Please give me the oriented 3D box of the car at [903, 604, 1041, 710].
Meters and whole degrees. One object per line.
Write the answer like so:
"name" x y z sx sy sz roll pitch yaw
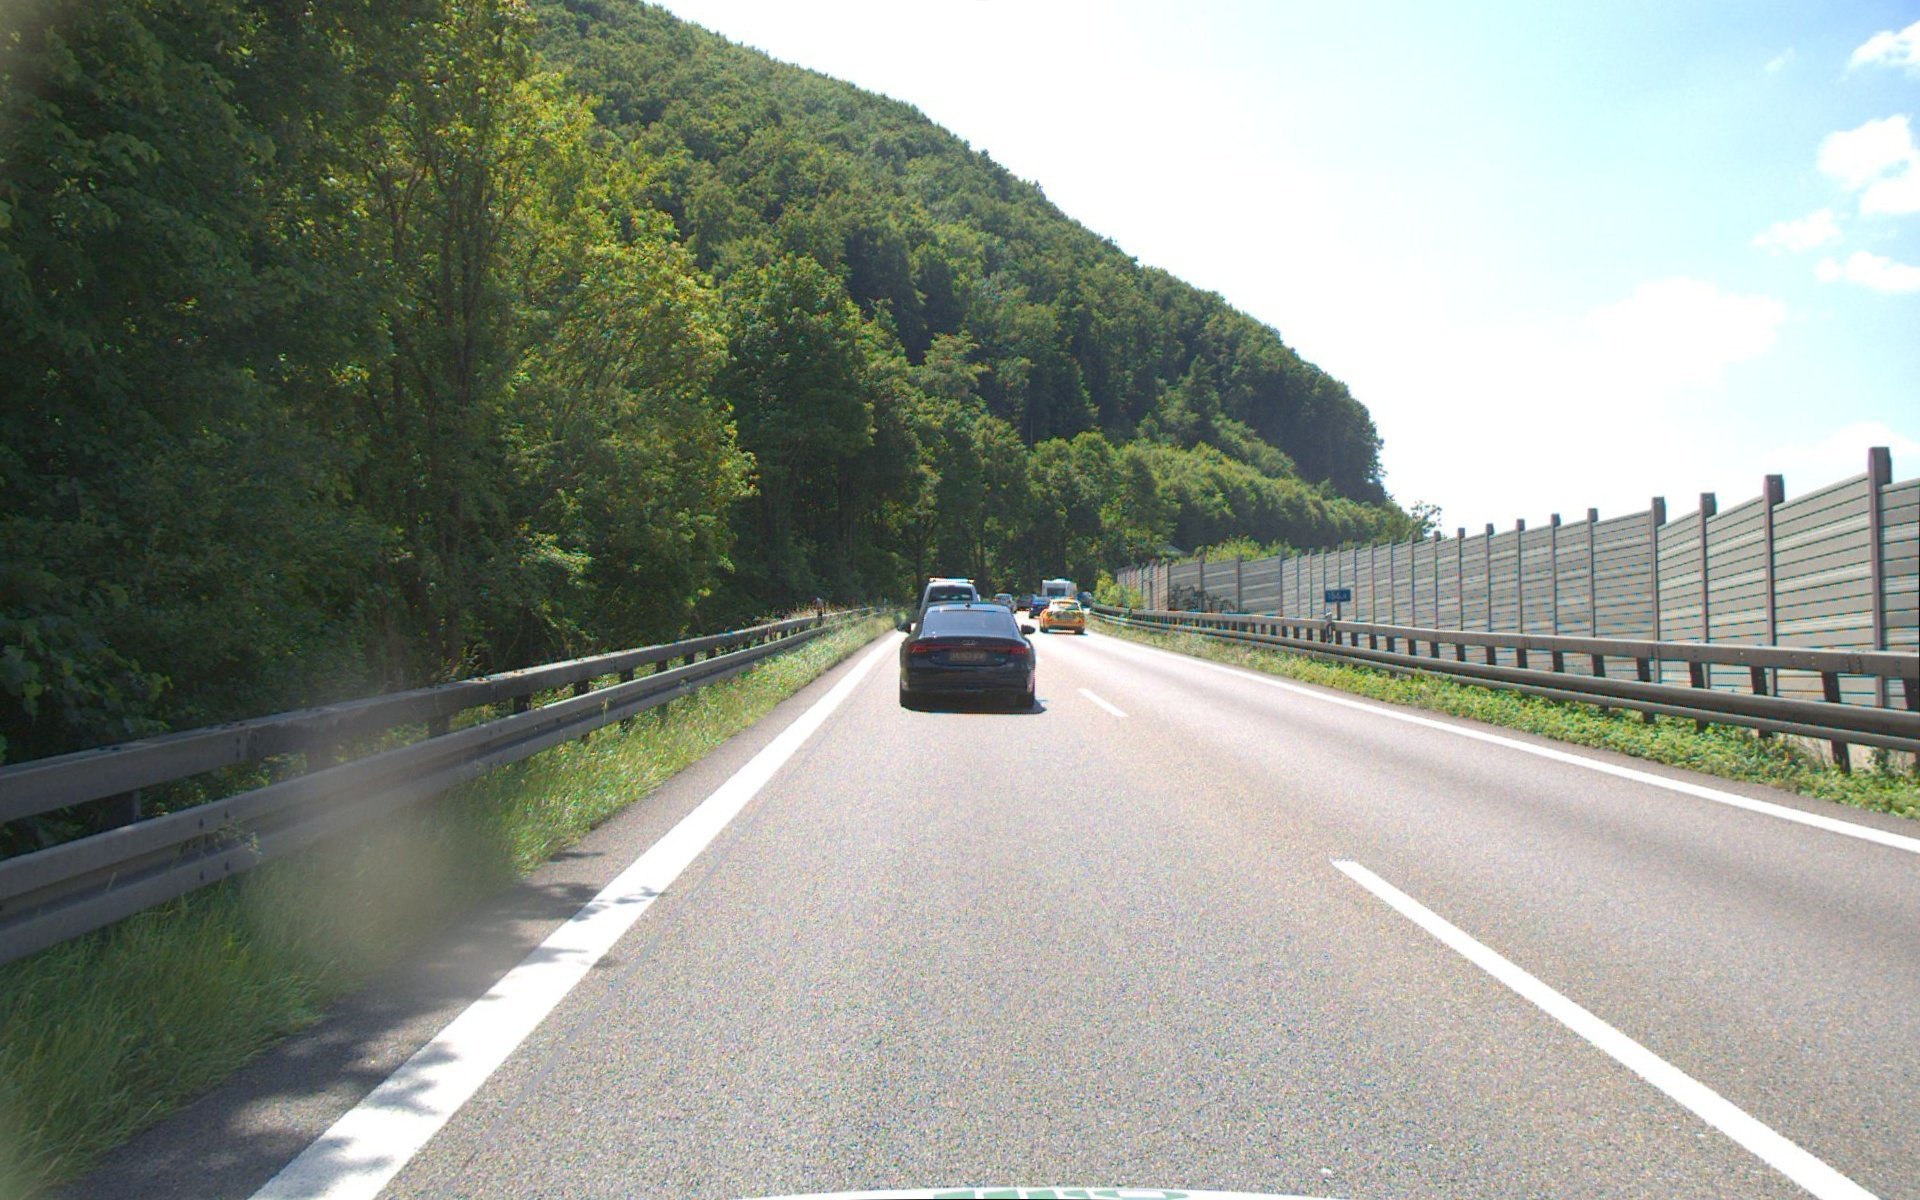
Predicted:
"car" 0.142 0.752 23.558 1.800 1.373 3.999 0 0 -1

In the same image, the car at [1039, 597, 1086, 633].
"car" 4.398 0.651 71.653 1.824 1.514 4.000 0 0 0

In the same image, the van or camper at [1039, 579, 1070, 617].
"van or camper" 7.701 -0.145 134.368 2.404 2.969 6.128 0 0 3

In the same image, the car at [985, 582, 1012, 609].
"car" 3.030 -0.355 130.160 1.952 2.049 4.002 0 0 3

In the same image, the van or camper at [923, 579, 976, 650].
"van or camper" -0.286 0.378 45.239 1.363 1.847 3.999 0 0 -1

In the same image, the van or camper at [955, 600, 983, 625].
"van or camper" 0.576 0.823 106.180 1.525 1.561 3.507 0 0 4

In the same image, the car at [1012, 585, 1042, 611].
"car" 4.496 -0.118 111.372 1.737 1.665 3.999 1 0 -1

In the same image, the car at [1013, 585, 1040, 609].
"car" 5.933 -0.236 147.034 1.951 2.049 4.003 0 0 8

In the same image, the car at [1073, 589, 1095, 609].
"car" 12.843 -0.130 171.346 1.951 2.049 4.003 0 0 9
